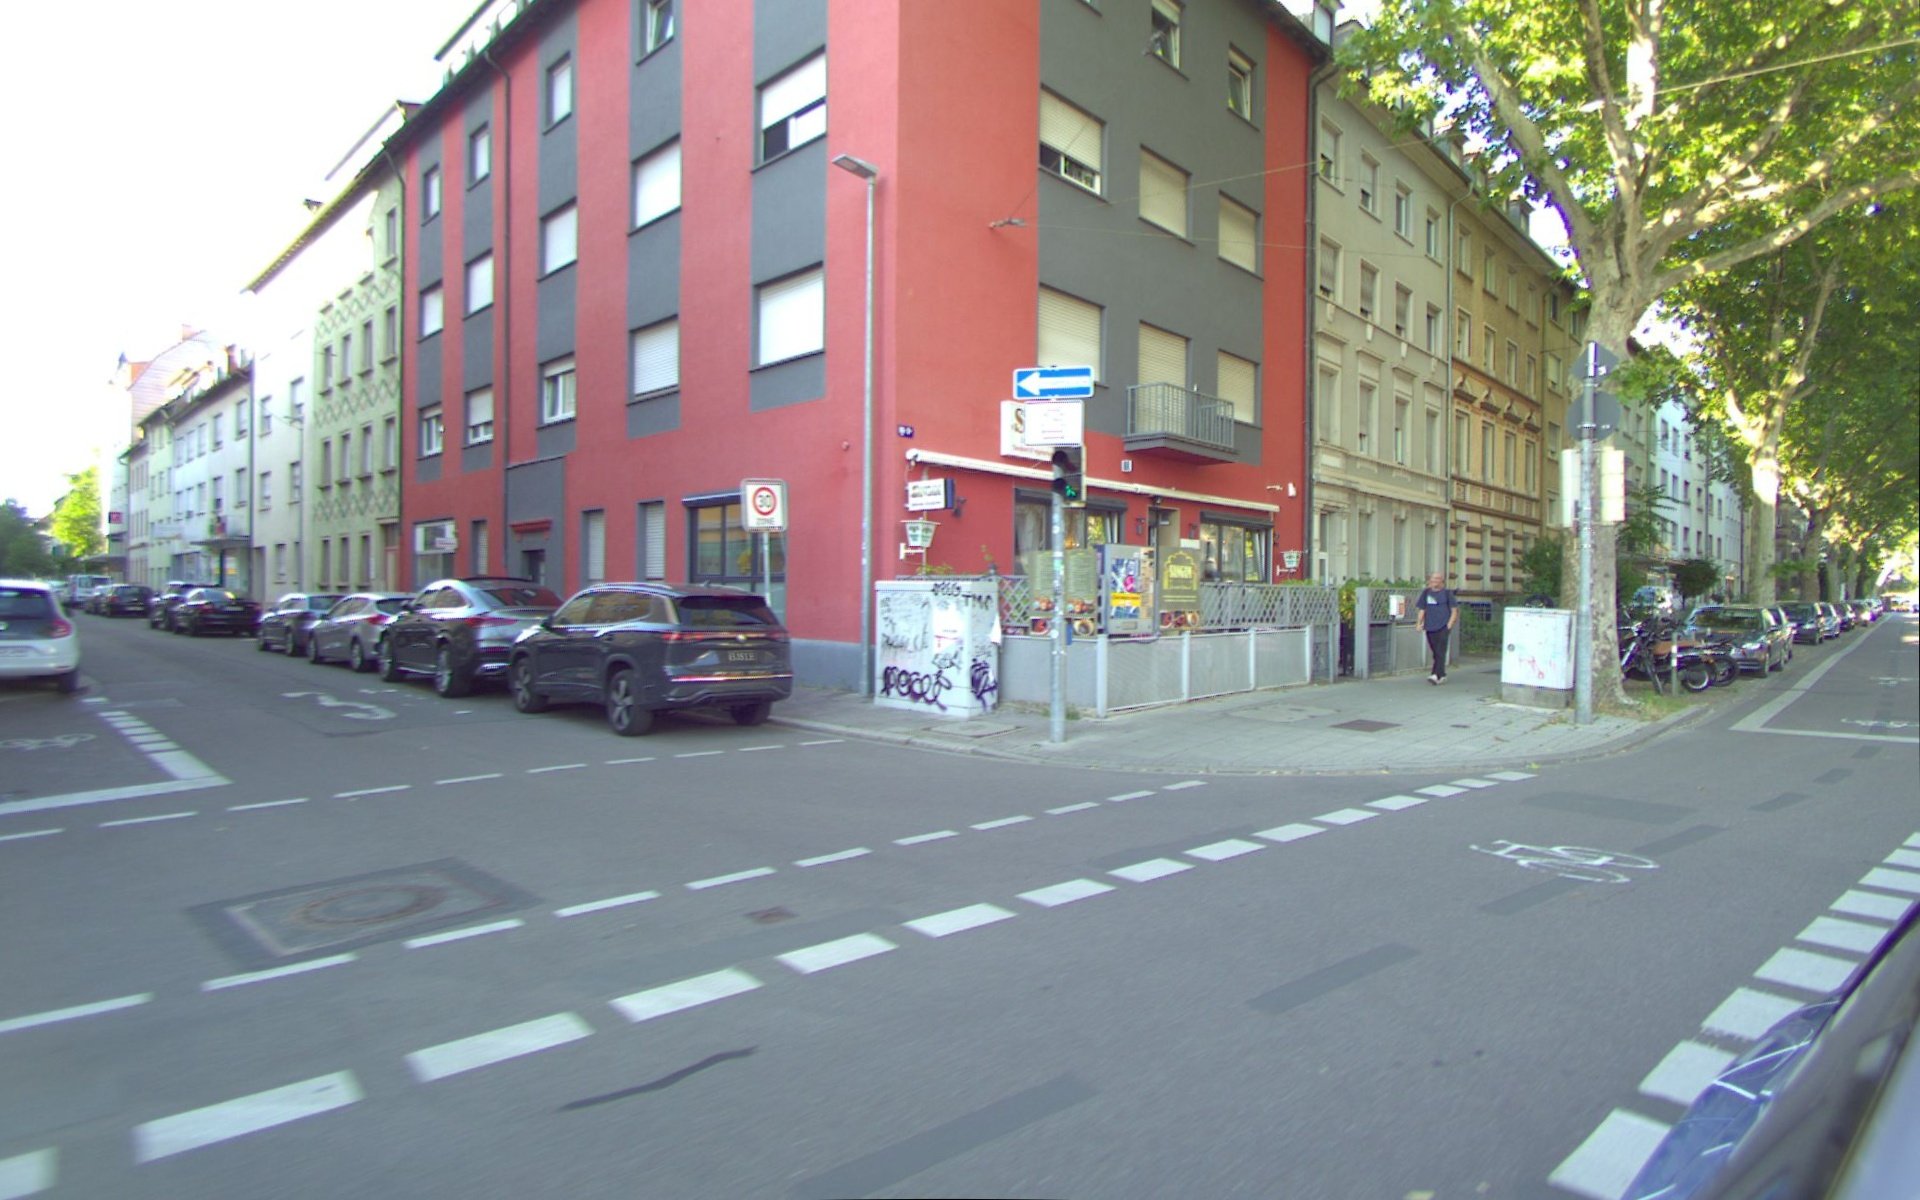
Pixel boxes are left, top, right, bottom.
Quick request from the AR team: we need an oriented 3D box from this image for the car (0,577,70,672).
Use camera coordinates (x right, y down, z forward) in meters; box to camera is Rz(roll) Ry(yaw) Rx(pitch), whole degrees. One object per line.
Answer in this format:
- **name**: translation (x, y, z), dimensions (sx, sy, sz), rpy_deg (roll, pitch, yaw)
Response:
- **car**: translation (-16.548, 0.357, 17.343), dimensions (1.743, 1.503, 3.767), rpy_deg (2, -1, -44)

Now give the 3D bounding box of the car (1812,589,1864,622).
- **car**: translation (45.291, 0.261, 52.182), dimensions (1.798, 1.521, 4.302), rpy_deg (4, 3, 43)

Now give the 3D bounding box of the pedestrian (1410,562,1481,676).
- **pedestrian**: translation (7.695, 0.271, 16.040), dimensions (0.727, 1.731, 0.803), rpy_deg (4, 3, 44)

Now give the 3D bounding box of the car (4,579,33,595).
- **car**: translation (-89.363, -1.228, 96.020), dimensions (3.736, 1.509, 1.745), rpy_deg (1, 1, 43)

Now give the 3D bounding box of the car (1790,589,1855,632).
- **car**: translation (36.190, 0.380, 42.444), dimensions (1.798, 1.628, 4.302), rpy_deg (4, 3, 43)

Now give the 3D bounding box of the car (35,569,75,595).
- **car**: translation (-62.193, -1.248, 69.554), dimensions (3.736, 1.710, 1.745), rpy_deg (1, 1, 43)

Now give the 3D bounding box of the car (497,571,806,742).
- **car**: translation (-3.872, 0.535, 12.263), dimensions (4.342, 1.708, 1.744), rpy_deg (1, 1, 45)

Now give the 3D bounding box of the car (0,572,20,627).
- **car**: translation (-28.001, -0.046, 28.806), dimensions (1.743, 1.503, 3.767), rpy_deg (2, -1, -44)

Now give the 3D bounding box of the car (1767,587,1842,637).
- **car**: translation (30.960, 0.388, 37.049), dimensions (1.798, 1.628, 4.302), rpy_deg (4, 3, 43)

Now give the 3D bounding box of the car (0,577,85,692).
- **car**: translation (-13.727, 0.433, 14.356), dimensions (3.311, 1.502, 1.744), rpy_deg (1, 1, 45)

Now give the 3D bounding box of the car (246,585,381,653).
- **car**: translation (-14.967, 0.367, 23.350), dimensions (3.842, 1.420, 1.745), rpy_deg (1, 1, 43)

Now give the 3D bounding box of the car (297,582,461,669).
- **car**: translation (-11.340, 0.416, 19.670), dimensions (3.800, 1.504, 1.745), rpy_deg (1, 1, 43)

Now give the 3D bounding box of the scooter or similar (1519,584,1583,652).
- **scooter or similar**: translation (13.463, 0.376, 23.030), dimensions (0.665, 1.488, 2.504), rpy_deg (1, 1, 44)

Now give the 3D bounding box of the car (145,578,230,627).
- **car**: translation (-26.547, 0.046, 34.736), dimensions (3.736, 1.581, 1.745), rpy_deg (1, 1, 43)

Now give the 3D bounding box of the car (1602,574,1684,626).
- **car**: translation (27.303, -0.030, 40.386), dimensions (1.929, 1.897, 4.604), rpy_deg (4, 3, 43)

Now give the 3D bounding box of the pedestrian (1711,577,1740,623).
- **pedestrian**: translation (26.735, -0.015, 35.343), dimensions (0.726, 1.600, 0.690), rpy_deg (1, 1, 45)

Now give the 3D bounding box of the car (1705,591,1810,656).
- **car**: translation (20.910, 0.536, 26.460), dimensions (1.798, 1.473, 4.443), rpy_deg (4, 3, 42)

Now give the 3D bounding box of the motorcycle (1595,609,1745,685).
- **motorcycle**: translation (11.713, 0.765, 16.739), dimensions (1.856, 1.125, 0.785), rpy_deg (3, 0, 2)

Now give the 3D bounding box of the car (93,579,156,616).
- **car**: translation (-37.378, -0.119, 45.248), dimensions (3.736, 1.581, 1.745), rpy_deg (1, 1, 43)

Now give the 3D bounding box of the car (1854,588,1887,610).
- **car**: translation (73.133, -0.113, 81.295), dimensions (1.798, 1.628, 4.041), rpy_deg (4, 3, 43)

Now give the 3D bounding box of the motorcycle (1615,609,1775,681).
- **motorcycle**: translation (13.185, 0.785, 18.234), dimensions (2.184, 1.125, 0.660), rpy_deg (3, 1, 18)

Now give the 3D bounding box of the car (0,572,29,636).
- **car**: translation (-24.338, 0.065, 25.100), dimensions (1.743, 1.503, 3.767), rpy_deg (2, -1, -44)

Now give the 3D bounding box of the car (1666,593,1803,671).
- **car**: translation (16.853, 0.611, 21.937), dimensions (1.799, 1.419, 4.300), rpy_deg (4, 3, 44)

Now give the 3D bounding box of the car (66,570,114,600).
- **car**: translation (-51.133, -0.880, 59.443), dimensions (3.736, 1.710, 1.745), rpy_deg (1, 1, 43)

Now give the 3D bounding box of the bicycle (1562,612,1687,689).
- **bicycle**: translation (10.351, 0.786, 15.759), dimensions (1.762, 1.125, 0.622), rpy_deg (2, 0, -18)

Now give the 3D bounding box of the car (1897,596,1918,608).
- **car**: translation (152.313, 0.344, 162.633), dimensions (3.930, 1.885, 1.997), rpy_deg (-1, 0, -41)

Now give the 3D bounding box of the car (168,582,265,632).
- **car**: translation (-22.744, 0.168, 30.921), dimensions (3.736, 1.420, 1.745), rpy_deg (1, 1, 43)

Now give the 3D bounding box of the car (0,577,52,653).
- **car**: translation (-20.394, 0.262, 21.312), dimensions (1.743, 1.503, 3.767), rpy_deg (2, -1, -44)

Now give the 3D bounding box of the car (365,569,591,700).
- **car**: translation (-7.679, 0.427, 15.883), dimensions (4.603, 1.762, 1.744), rpy_deg (1, 1, 45)
